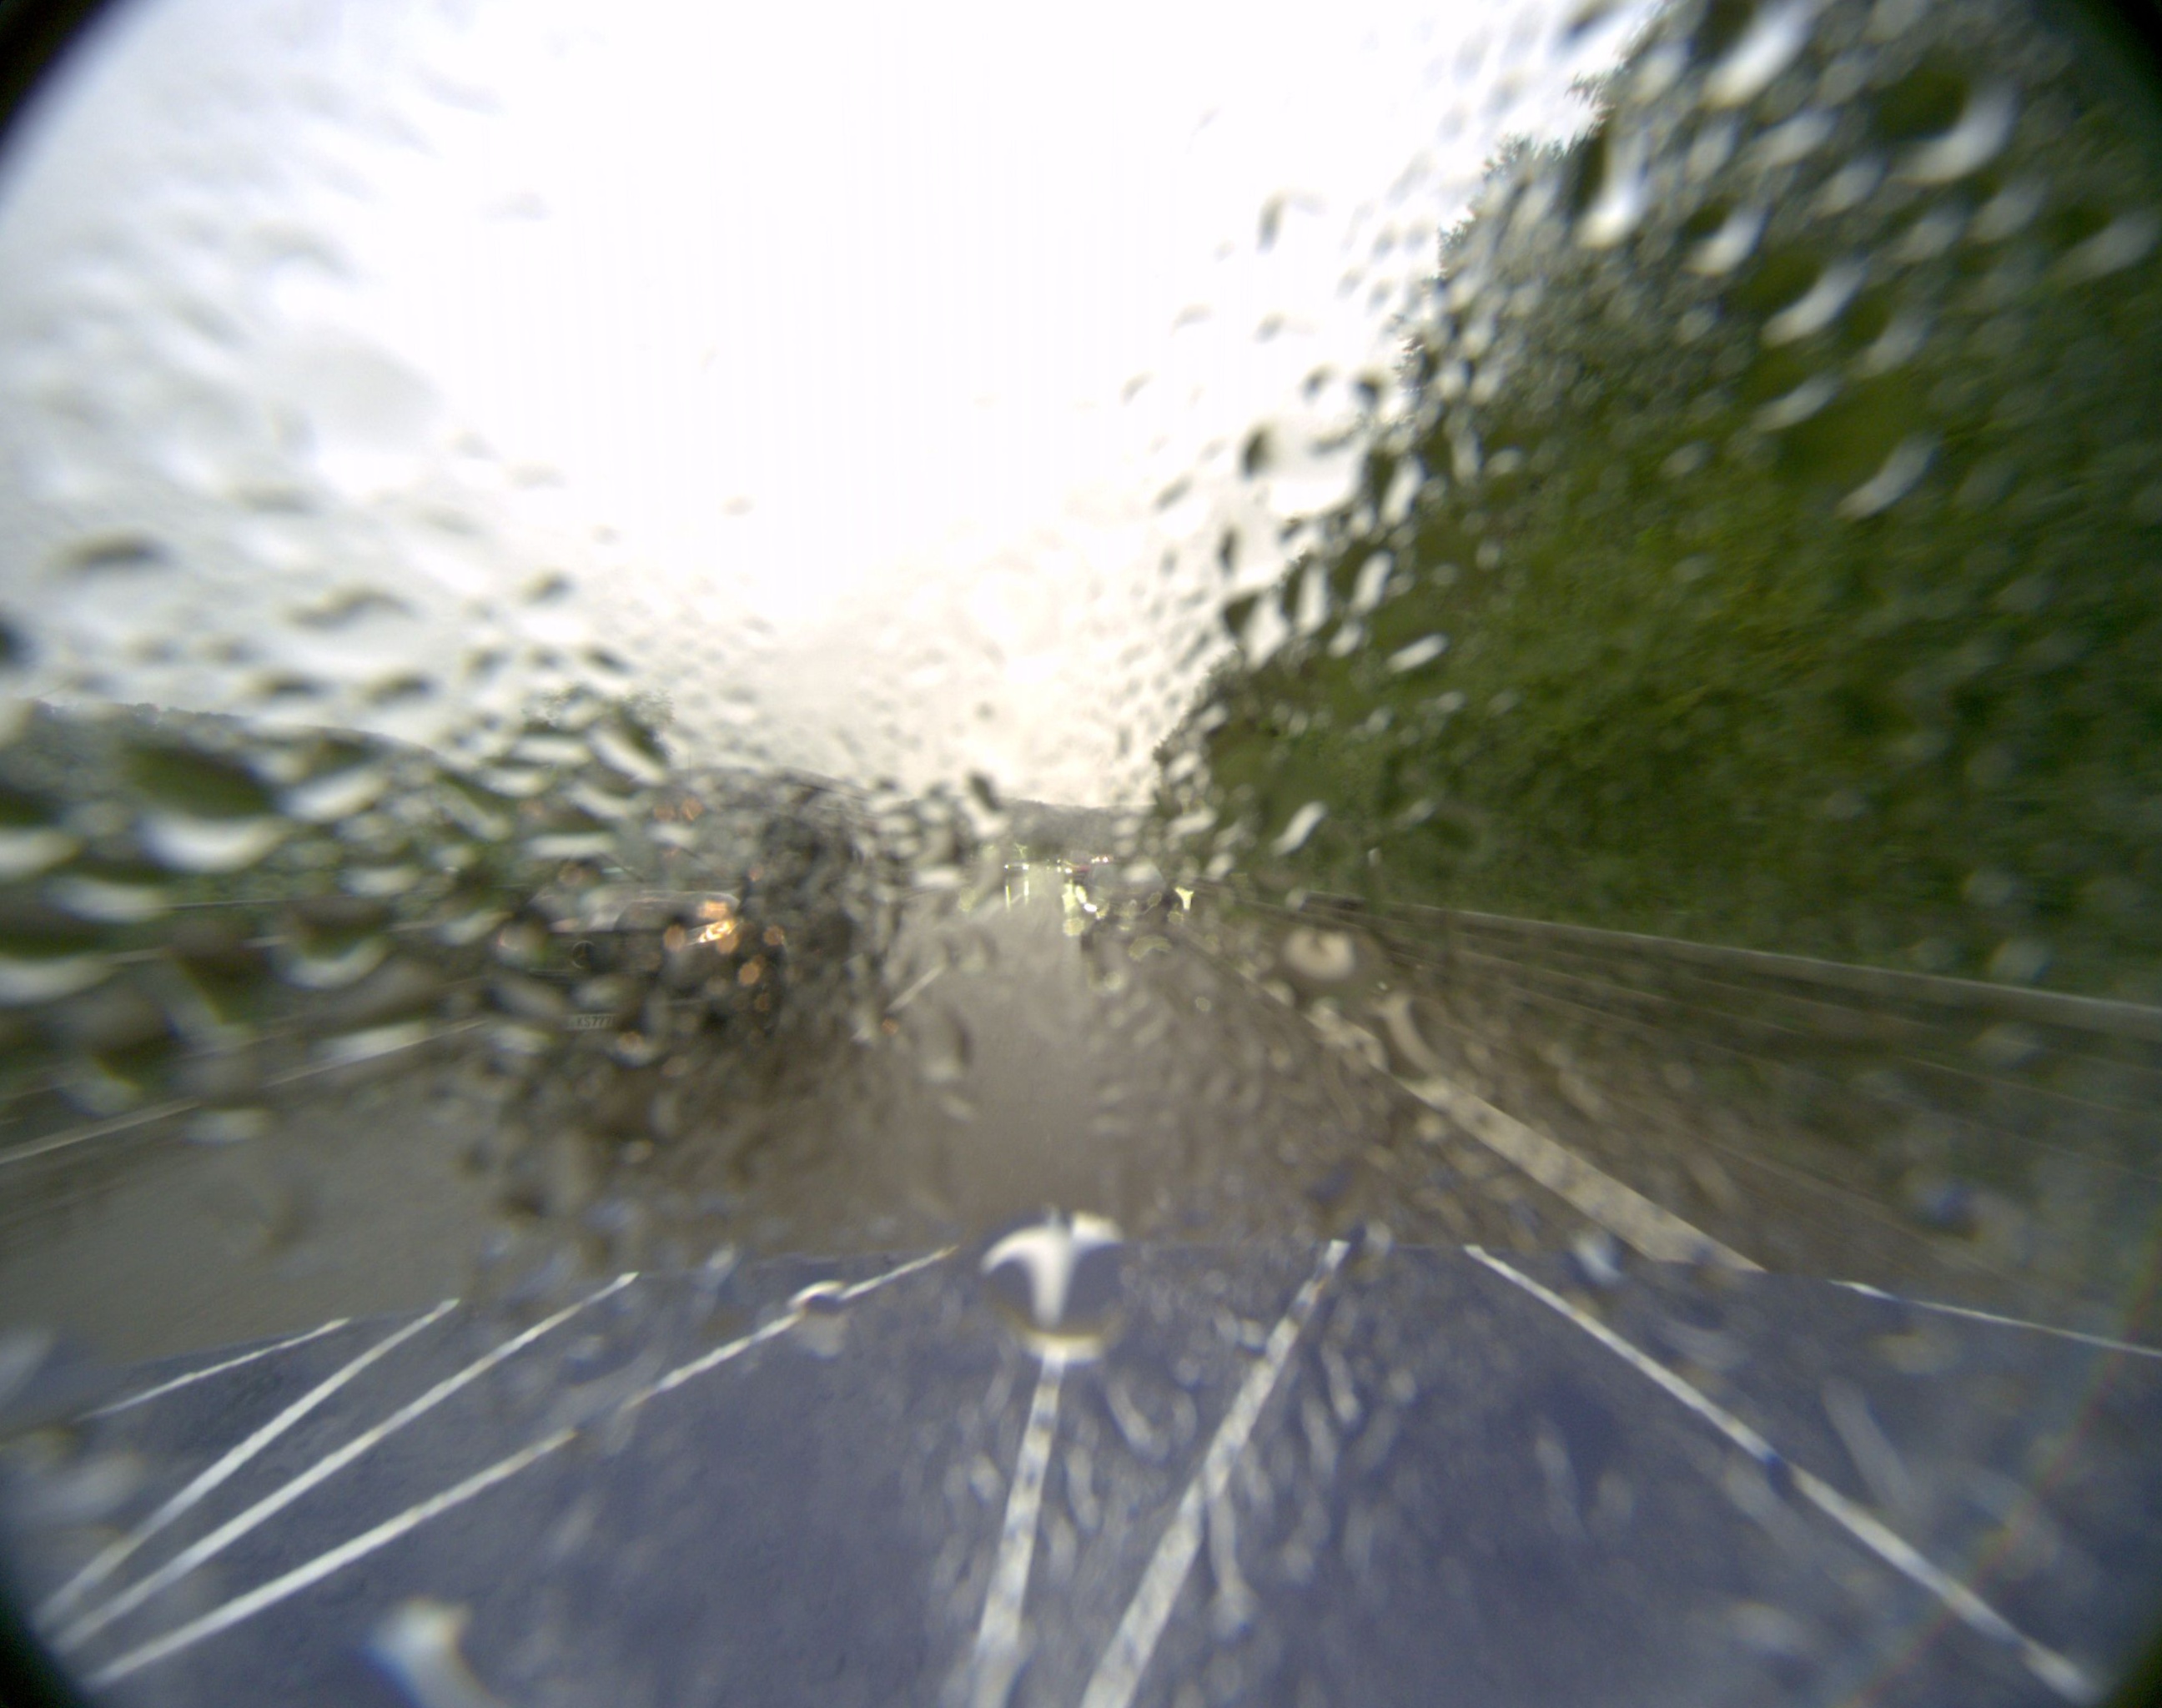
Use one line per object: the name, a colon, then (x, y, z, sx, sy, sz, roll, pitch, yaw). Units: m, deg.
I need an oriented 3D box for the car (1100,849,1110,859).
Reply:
car: (4.117, -0.015, 130.279, 1.624, 1.713, 3.413, 1, 1, 3)

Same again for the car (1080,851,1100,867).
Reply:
car: (0.834, 0.457, 73.657, 1.906, 1.545, 4.563, 1, 1, 0)

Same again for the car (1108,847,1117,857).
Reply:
car: (6.400, -0.361, 154.649, 1.825, 2.002, 3.872, 1, 1, 3)

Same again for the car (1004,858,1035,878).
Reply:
car: (-4.676, 1.017, 58.554, 1.990, 1.407, 4.563, 1, 1, 0)

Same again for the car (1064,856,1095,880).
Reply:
car: (-0.125, 0.790, 44.503, 1.713, 1.316, 3.944, -1, 1, -1)

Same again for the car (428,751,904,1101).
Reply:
car: (-3.747, 0.483, 8.826, 1.999, 2.480, 6.702, -1, 1, -2)

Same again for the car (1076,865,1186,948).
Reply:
car: (0.838, 0.923, 14.926, 1.839, 1.316, 4.134, 0, 0, -1)

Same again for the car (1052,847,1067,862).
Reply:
car: (-2.878, 0.008, 100.162, 1.765, 1.851, 3.767, -2, 1, 0)
